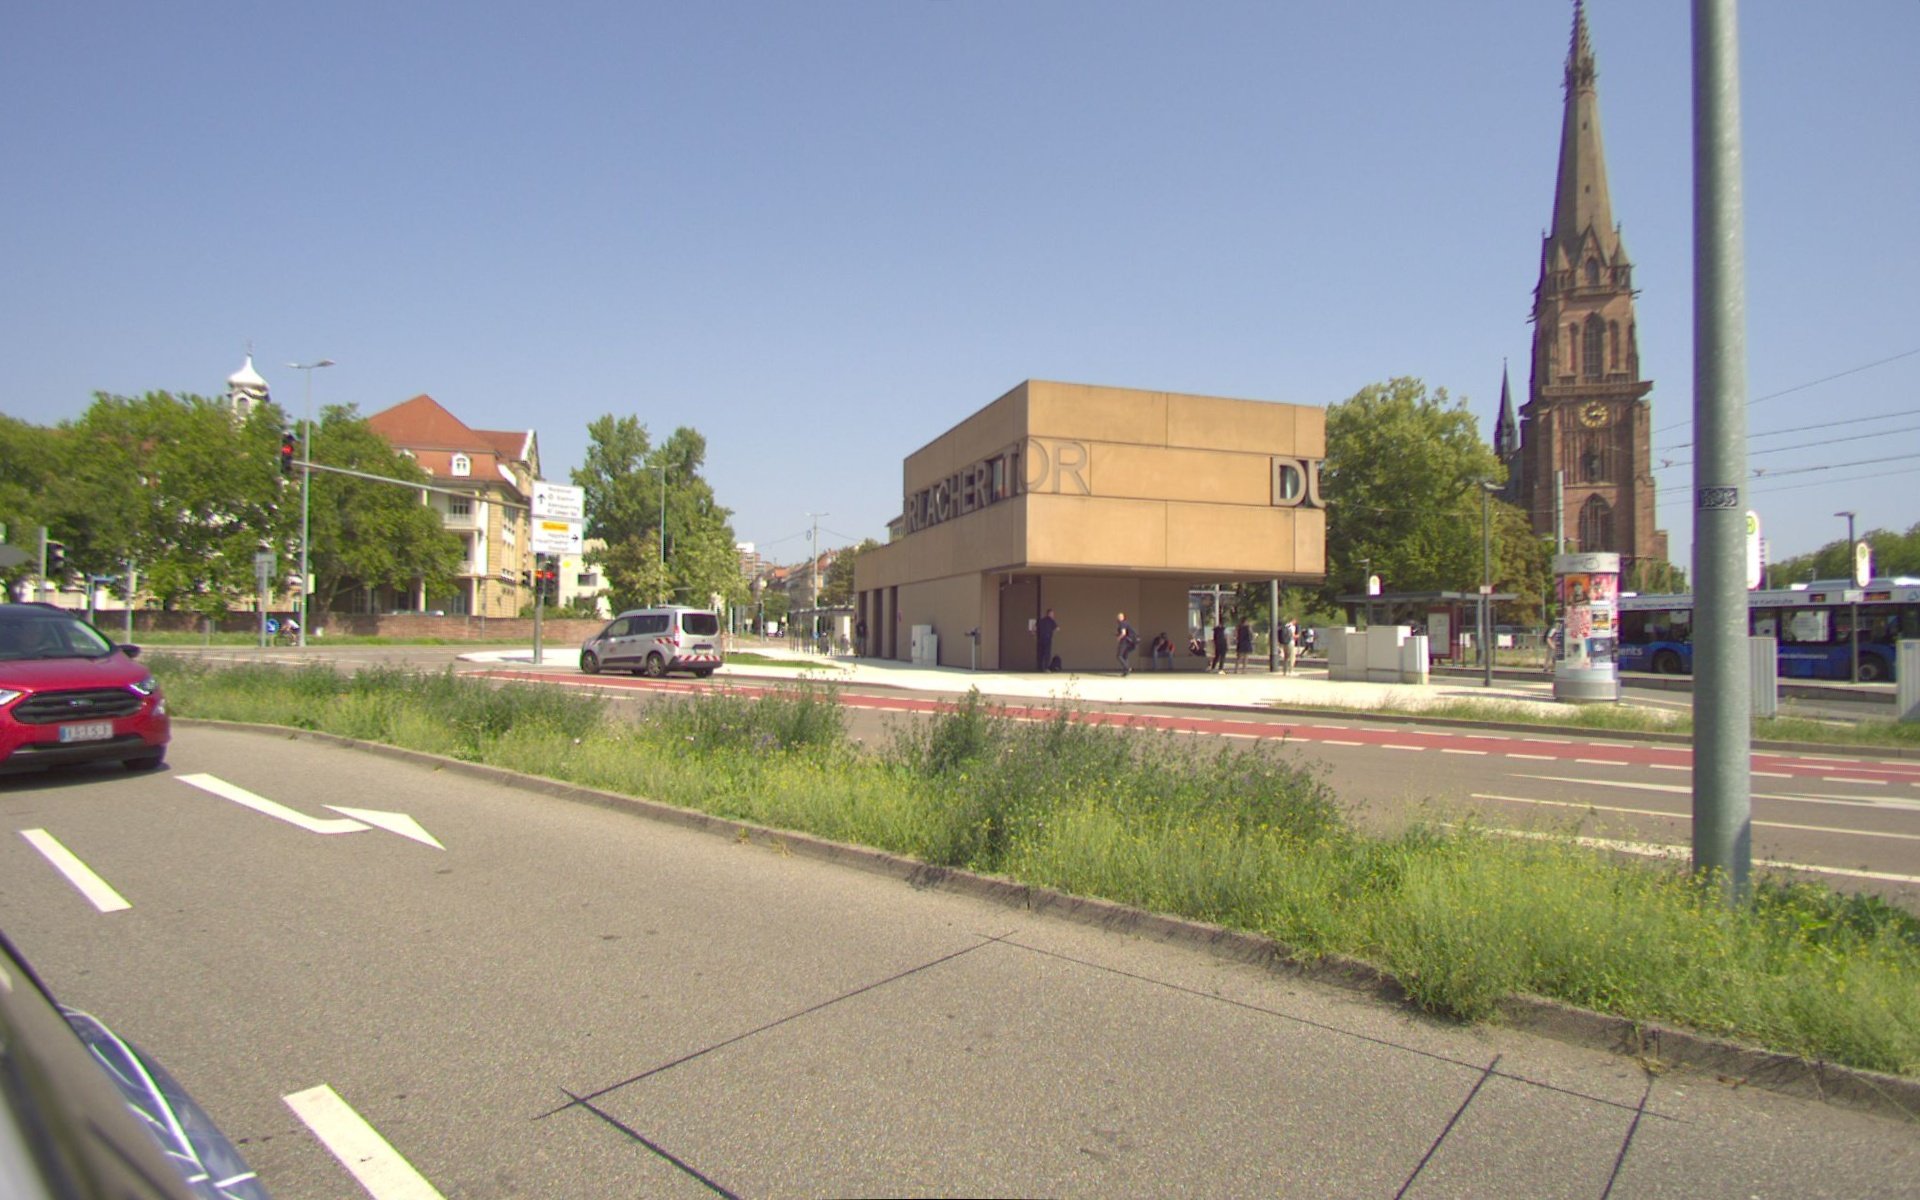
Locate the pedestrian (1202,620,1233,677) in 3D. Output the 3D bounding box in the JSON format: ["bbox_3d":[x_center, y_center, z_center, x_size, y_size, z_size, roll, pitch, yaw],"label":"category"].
[{"bbox_3d":[7.446,1.398,29.257,0.628,1.626,0.694,1,-2,-12],"label":"pedestrian"}]

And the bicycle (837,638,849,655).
[{"bbox_3d":[-7.535,2.989,65.096,0.518,1.048,1.775,2,-3,-15],"label":"bicycle"}]

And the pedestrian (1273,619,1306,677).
[{"bbox_3d":[9.740,1.420,29.915,0.808,1.682,0.544,-1,-3,39],"label":"pedestrian"}]

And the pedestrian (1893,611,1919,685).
[{"bbox_3d":[24.993,1.241,25.867,1.021,1.900,1.314,2,-2,-16],"label":"pedestrian"}]

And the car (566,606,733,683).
[{"bbox_3d":[-8.307,1.185,26.976,4.324,1.874,1.976,-1,-5,35],"label":"car"}]

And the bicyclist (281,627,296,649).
[{"bbox_3d":[-38.309,2.151,57.739,0.429,1.242,0.538,-1,-3,15],"label":"bicyclist"}]

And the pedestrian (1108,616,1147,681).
[{"bbox_3d":[4.469,1.283,27.027,0.808,1.715,0.638,-1,-3,39],"label":"pedestrian"}]

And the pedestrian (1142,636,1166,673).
[{"bbox_3d":[5.819,1.642,30.311,0.531,1.092,0.502,1,-2,-18],"label":"pedestrian"}]

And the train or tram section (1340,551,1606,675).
[{"bbox_3d":[16.943,0.634,34.336,3.091,3.597,8.269,3,-4,-18],"label":"train or tram section"}]

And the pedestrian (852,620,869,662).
[{"bbox_3d":[-4.021,1.655,41.031,0.559,1.691,0.537,1,-3,-18],"label":"pedestrian"}]

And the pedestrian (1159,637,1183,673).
[{"bbox_3d":[6.345,1.652,30.488,0.531,1.092,0.502,1,-2,-18],"label":"pedestrian"}]

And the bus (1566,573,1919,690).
[{"bbox_3d":[25.529,1.004,31.510,3.053,3.094,12.520,1,-2,-17],"label":"bus"}]

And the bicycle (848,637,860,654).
[{"bbox_3d":[-6.863,2.942,65.402,0.518,1.048,1.775,2,-3,-15],"label":"bicycle"}]

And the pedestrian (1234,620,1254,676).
[{"bbox_3d":[8.406,1.423,29.973,0.485,1.626,0.509,0,-2,6],"label":"pedestrian"}]

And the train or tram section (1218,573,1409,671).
[{"bbox_3d":[14.399,1.064,42.166,3.091,3.597,8.269,3,-4,-18],"label":"train or tram section"}]

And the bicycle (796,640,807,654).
[{"bbox_3d":[-10.105,2.973,64.331,0.483,0.890,1.903,2,-3,-15],"label":"bicycle"}]

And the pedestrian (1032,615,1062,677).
[{"bbox_3d":[2.417,1.274,28.124,0.739,1.701,0.630,0,-2,12],"label":"pedestrian"}]

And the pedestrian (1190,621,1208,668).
[{"bbox_3d":[8.405,1.573,35.614,0.484,1.626,0.571,1,-3,-3],"label":"pedestrian"}]

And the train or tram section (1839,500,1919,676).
[{"bbox_3d":[22.033,-0.341,18.682,3.091,3.597,8.269,3,-4,-18],"label":"train or tram section"}]

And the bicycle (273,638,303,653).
[{"bbox_3d":[-38.315,2.593,57.713,0.433,0.818,1.478,0,-2,15],"label":"bicycle"}]

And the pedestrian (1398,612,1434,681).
[{"bbox_3d":[11.989,1.217,26.606,0.685,1.777,0.553,2,-2,-31],"label":"pedestrian"}]

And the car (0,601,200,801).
[{"bbox_3d":[-9.294,0.839,9.675,3.984,1.627,1.827,-1,-1,30],"label":"car"}]

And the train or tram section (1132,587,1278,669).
[{"bbox_3d":[11.878,1.502,49.983,3.091,3.597,8.269,3,-4,-18],"label":"train or tram section"}]
